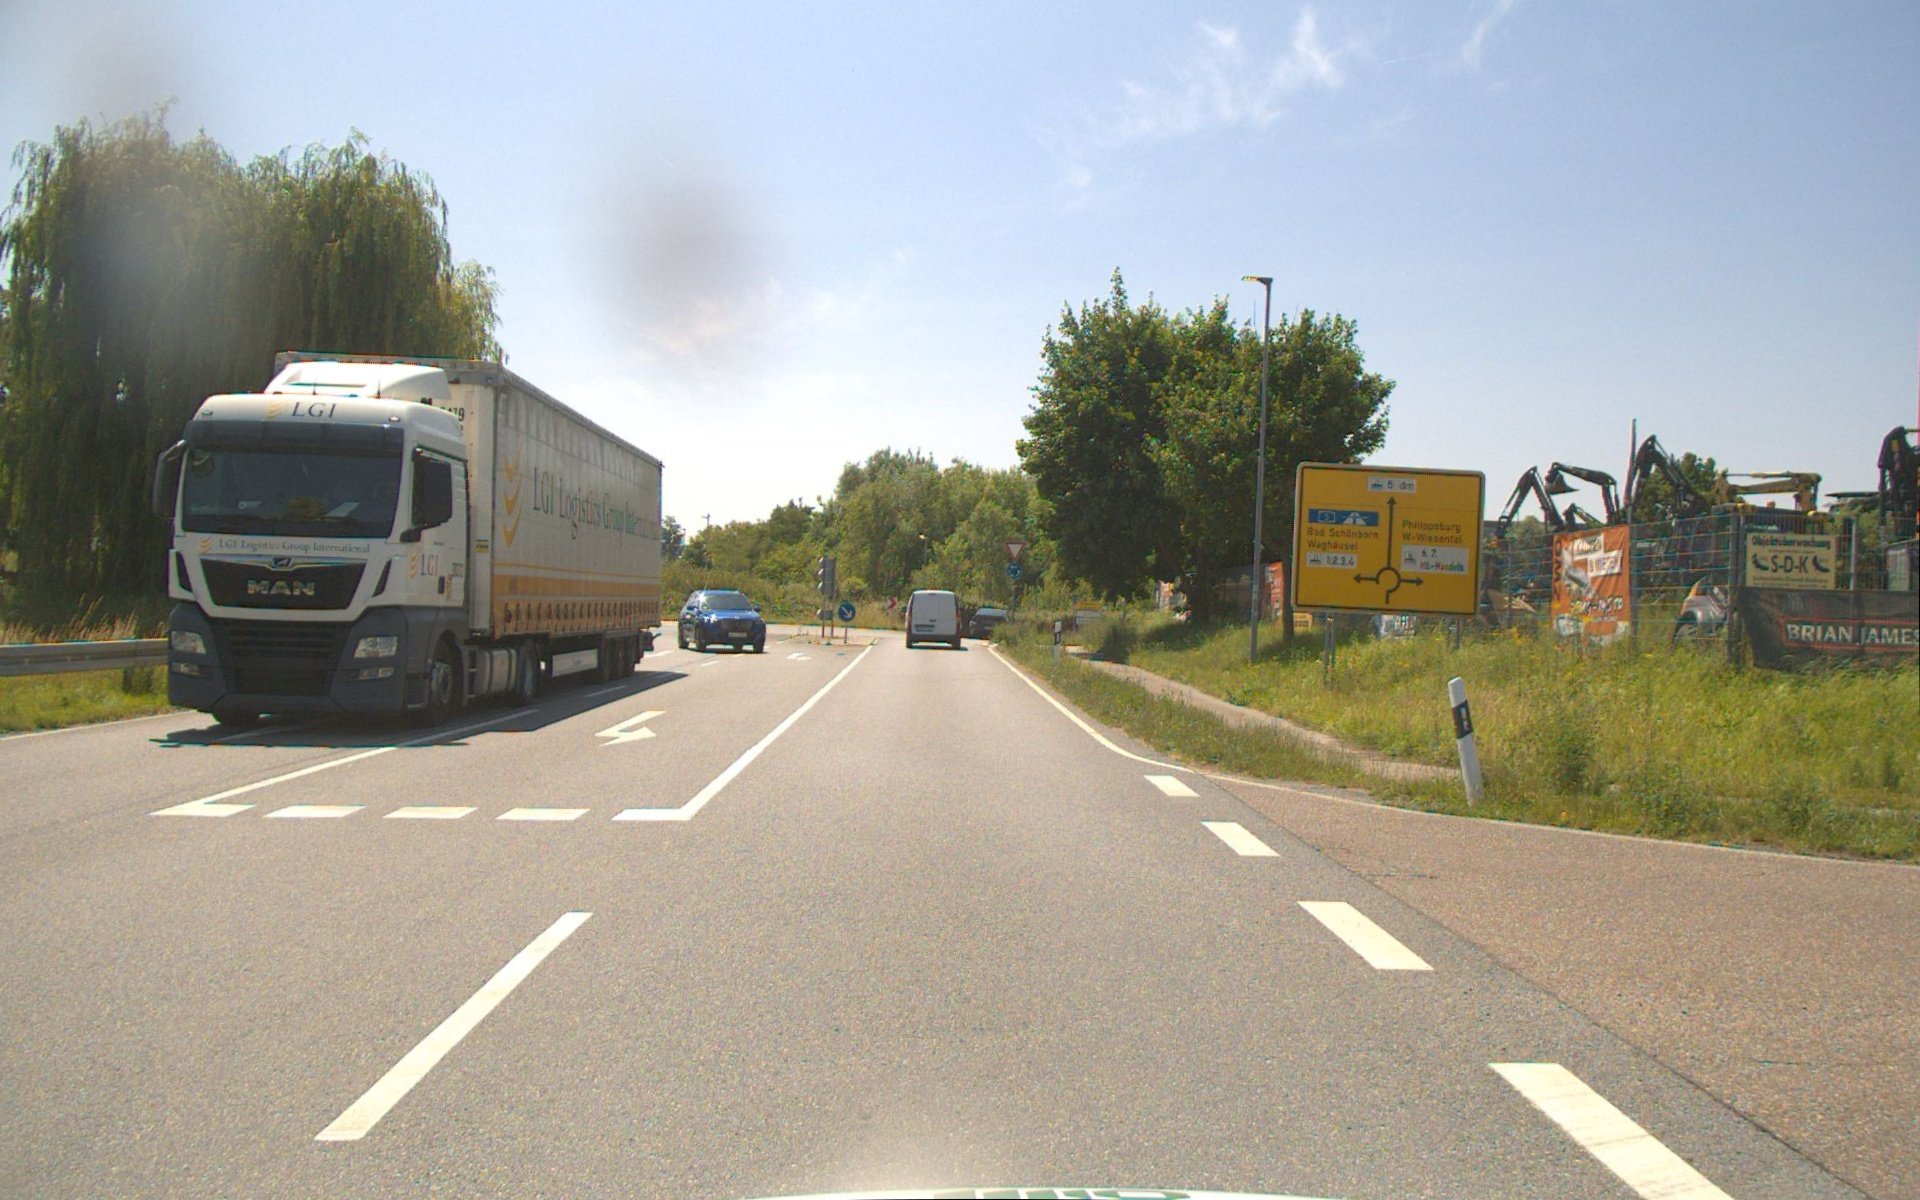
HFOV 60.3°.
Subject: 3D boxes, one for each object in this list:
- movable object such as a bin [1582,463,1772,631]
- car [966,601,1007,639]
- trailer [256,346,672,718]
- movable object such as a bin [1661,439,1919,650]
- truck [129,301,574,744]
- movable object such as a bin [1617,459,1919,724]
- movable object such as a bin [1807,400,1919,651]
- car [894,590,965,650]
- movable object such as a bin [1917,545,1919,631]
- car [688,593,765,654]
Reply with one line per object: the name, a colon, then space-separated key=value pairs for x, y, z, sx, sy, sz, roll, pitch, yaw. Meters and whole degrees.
movable object such as a bin: x=23.917 y=-1.704 z=55.370 sx=4.980 sy=5.143 sz=2.778 roll=3 pitch=-2 yaw=2
car: x=1.234 y=0.915 z=78.420 sx=1.769 sy=1.583 sz=4.000 roll=2 pitch=1 yaw=-1
trailer: x=-6.915 y=-0.843 z=25.921 sx=2.734 sy=4.126 sz=13.496 roll=4 pitch=0 yaw=-2
movable object such as a bin: x=23.202 y=-1.469 z=46.337 sx=5.598 sy=5.361 sz=3.222 roll=3 pitch=-2 yaw=2
truck: x=-6.691 y=-0.779 z=19.447 sx=2.734 sy=4.127 sz=6.751 roll=4 pitch=0 yaw=-2
movable object such as a bin: x=11.738 y=-0.015 z=23.894 sx=2.276 sy=3.306 sz=5.100 roll=4 pitch=-2 yaw=-1
movable object such as a bin: x=23.416 y=-1.436 z=37.378 sx=6.455 sy=5.237 sz=3.807 roll=4 pitch=-2 yaw=2
car: x=-1.004 y=0.633 z=52.531 sx=1.867 sy=1.763 sz=3.817 roll=2 pitch=-1 yaw=-6
movable object such as a bin: x=23.252 y=-1.816 z=33.484 sx=5.796 sy=5.194 sz=3.109 roll=3 pitch=-2 yaw=2
car: x=-6.457 y=0.611 z=45.401 sx=1.815 sy=1.595 sz=3.988 roll=1 pitch=0 yaw=-12
